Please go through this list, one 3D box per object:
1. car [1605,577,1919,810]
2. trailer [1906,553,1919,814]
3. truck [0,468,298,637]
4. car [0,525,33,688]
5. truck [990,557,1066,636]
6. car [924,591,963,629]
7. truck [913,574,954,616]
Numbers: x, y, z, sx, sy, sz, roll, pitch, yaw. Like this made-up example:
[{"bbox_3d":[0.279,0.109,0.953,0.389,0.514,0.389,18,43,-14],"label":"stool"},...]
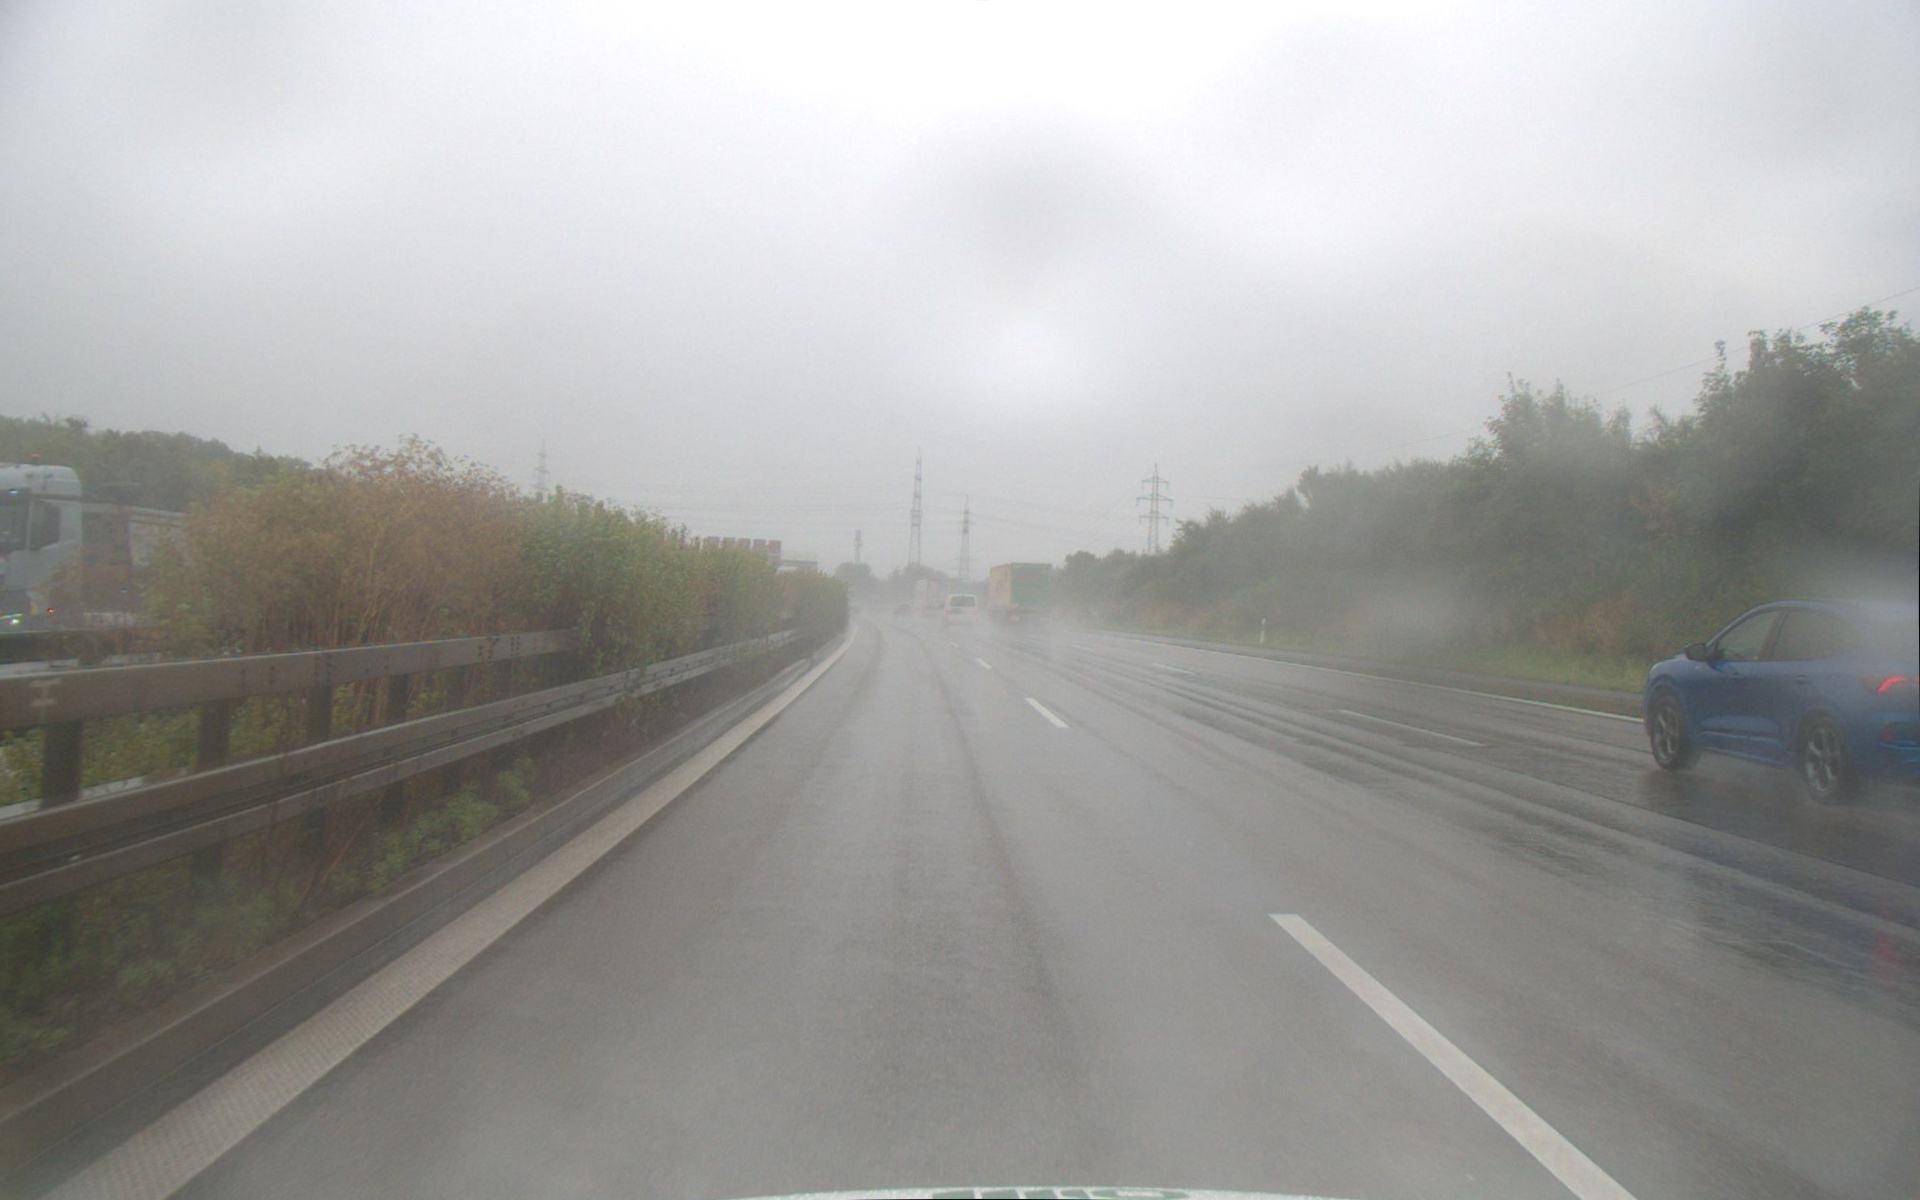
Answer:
[{"bbox_3d":[7.593,0.703,14.276,1.953,1.647,4.990,1,-1,-2],"label":"car"},{"bbox_3d":[7.691,0.578,10.121,1.939,1.816,3.188,1,-1,-1],"label":"trailer"},{"bbox_3d":[-17.554,-0.897,35.767,2.151,3.108,10.679,1,0,0],"label":"truck"},{"bbox_3d":[-12.387,0.068,17.663,1.953,1.939,5.319,1,0,0],"label":"car"},{"bbox_3d":[4.270,-0.131,108.025,4.104,4.711,16.102,1,-1,-1],"label":"truck"},{"bbox_3d":[-0.949,0.563,92.410,1.954,2.049,3.997,1,0,-3],"label":"car"},{"bbox_3d":[-2.928,-0.555,178.154,3.172,4.387,8.819,1,0,-9],"label":"truck"}]
